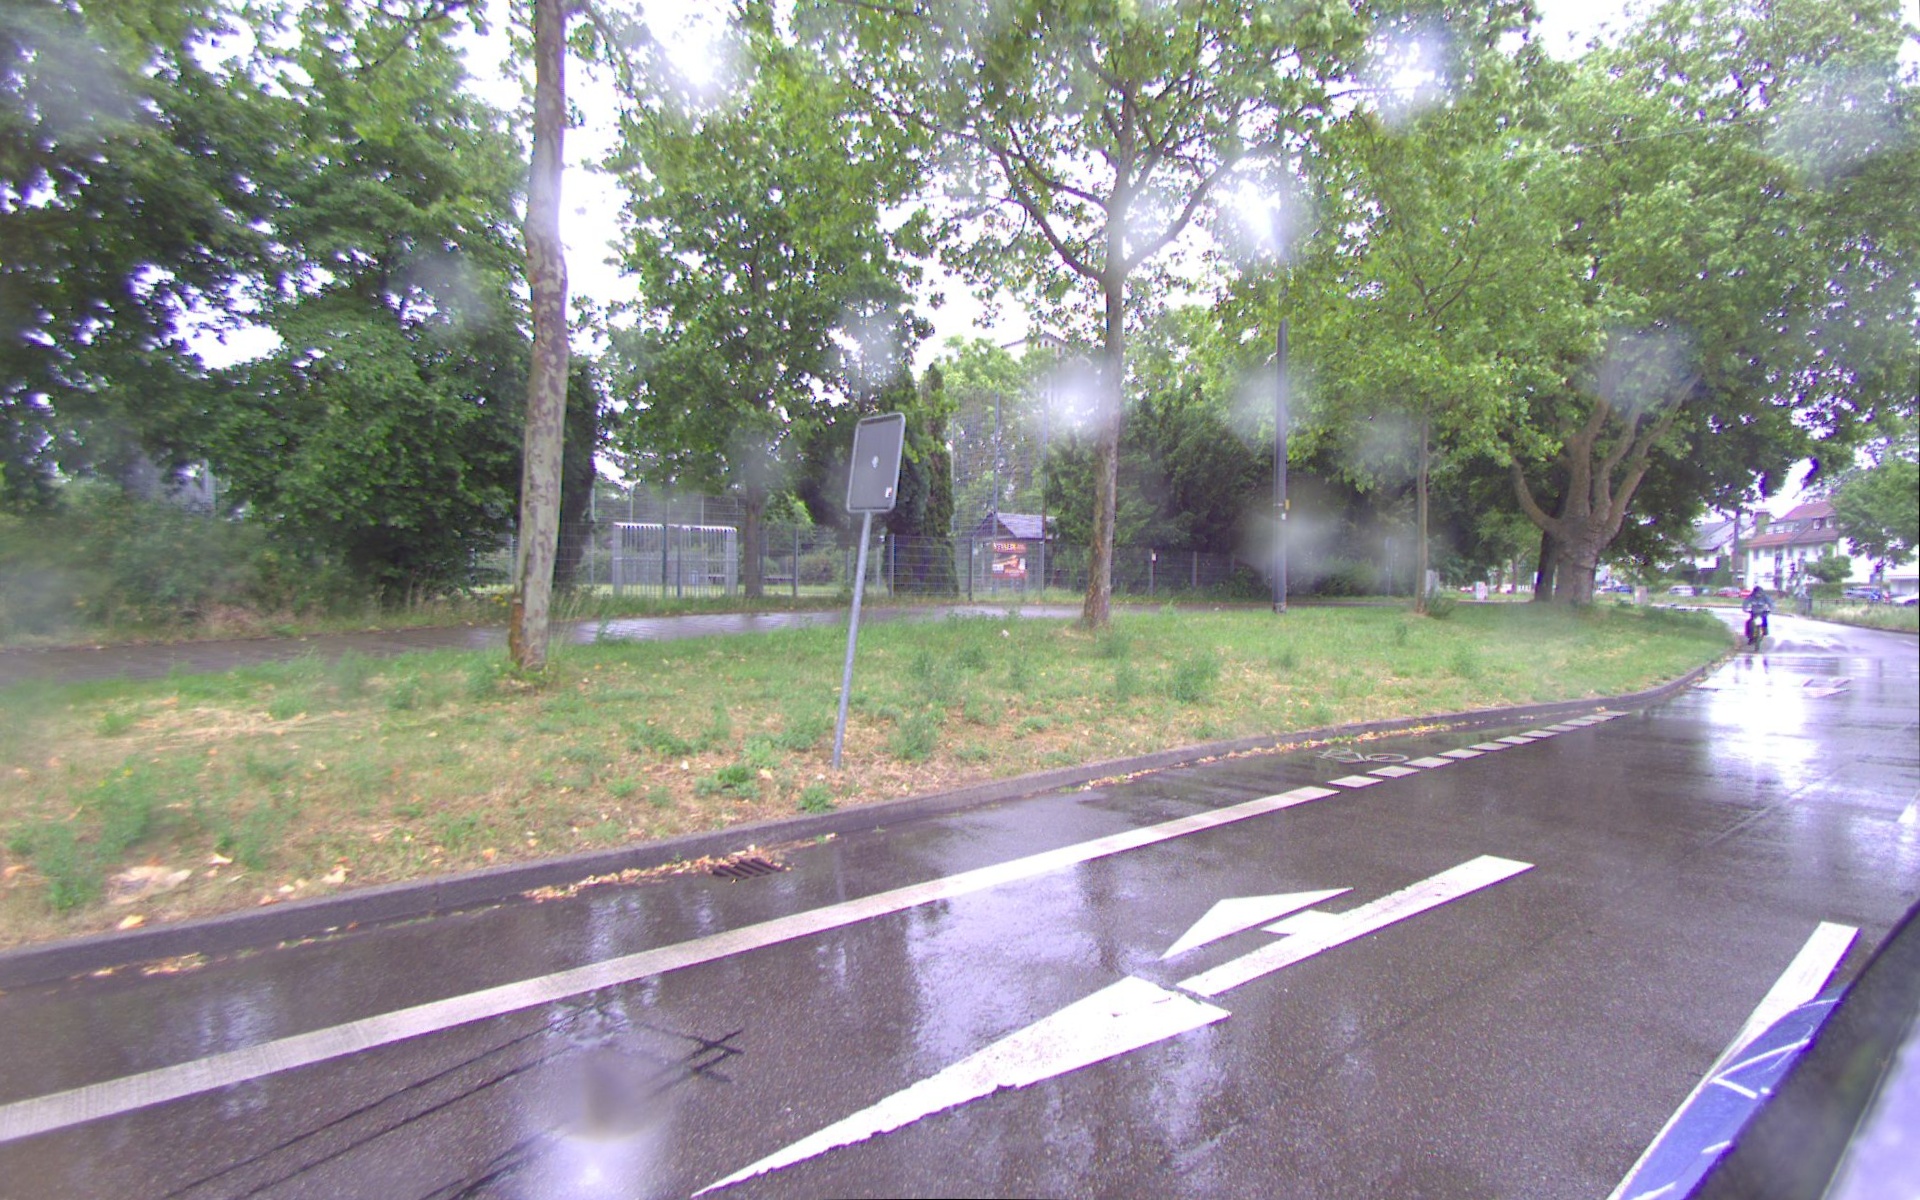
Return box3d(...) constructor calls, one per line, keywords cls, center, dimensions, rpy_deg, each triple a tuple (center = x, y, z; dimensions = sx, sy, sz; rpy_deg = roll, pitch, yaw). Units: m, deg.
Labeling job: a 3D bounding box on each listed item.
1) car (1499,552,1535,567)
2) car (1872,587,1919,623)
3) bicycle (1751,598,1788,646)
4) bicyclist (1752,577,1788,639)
box3d(cls="car", center=(73.769, -5.303, 134.089), dimensions=(3.958, 1.850, 1.983), rpy_deg=(0, 0, 25))
box3d(cls="car", center=(39.397, 0.187, 40.637), dimensions=(4.025, 1.438, 1.652), rpy_deg=(0, 0, 39))
box3d(cls="bicycle", center=(20.542, 0.533, 25.671), dimensions=(0.690, 1.131, 1.858), rpy_deg=(0, 1, 40))
box3d(cls="bicyclist", center=(20.539, 0.187, 25.664), dimensions=(0.690, 1.525, 0.832), rpy_deg=(0, 1, 40))
